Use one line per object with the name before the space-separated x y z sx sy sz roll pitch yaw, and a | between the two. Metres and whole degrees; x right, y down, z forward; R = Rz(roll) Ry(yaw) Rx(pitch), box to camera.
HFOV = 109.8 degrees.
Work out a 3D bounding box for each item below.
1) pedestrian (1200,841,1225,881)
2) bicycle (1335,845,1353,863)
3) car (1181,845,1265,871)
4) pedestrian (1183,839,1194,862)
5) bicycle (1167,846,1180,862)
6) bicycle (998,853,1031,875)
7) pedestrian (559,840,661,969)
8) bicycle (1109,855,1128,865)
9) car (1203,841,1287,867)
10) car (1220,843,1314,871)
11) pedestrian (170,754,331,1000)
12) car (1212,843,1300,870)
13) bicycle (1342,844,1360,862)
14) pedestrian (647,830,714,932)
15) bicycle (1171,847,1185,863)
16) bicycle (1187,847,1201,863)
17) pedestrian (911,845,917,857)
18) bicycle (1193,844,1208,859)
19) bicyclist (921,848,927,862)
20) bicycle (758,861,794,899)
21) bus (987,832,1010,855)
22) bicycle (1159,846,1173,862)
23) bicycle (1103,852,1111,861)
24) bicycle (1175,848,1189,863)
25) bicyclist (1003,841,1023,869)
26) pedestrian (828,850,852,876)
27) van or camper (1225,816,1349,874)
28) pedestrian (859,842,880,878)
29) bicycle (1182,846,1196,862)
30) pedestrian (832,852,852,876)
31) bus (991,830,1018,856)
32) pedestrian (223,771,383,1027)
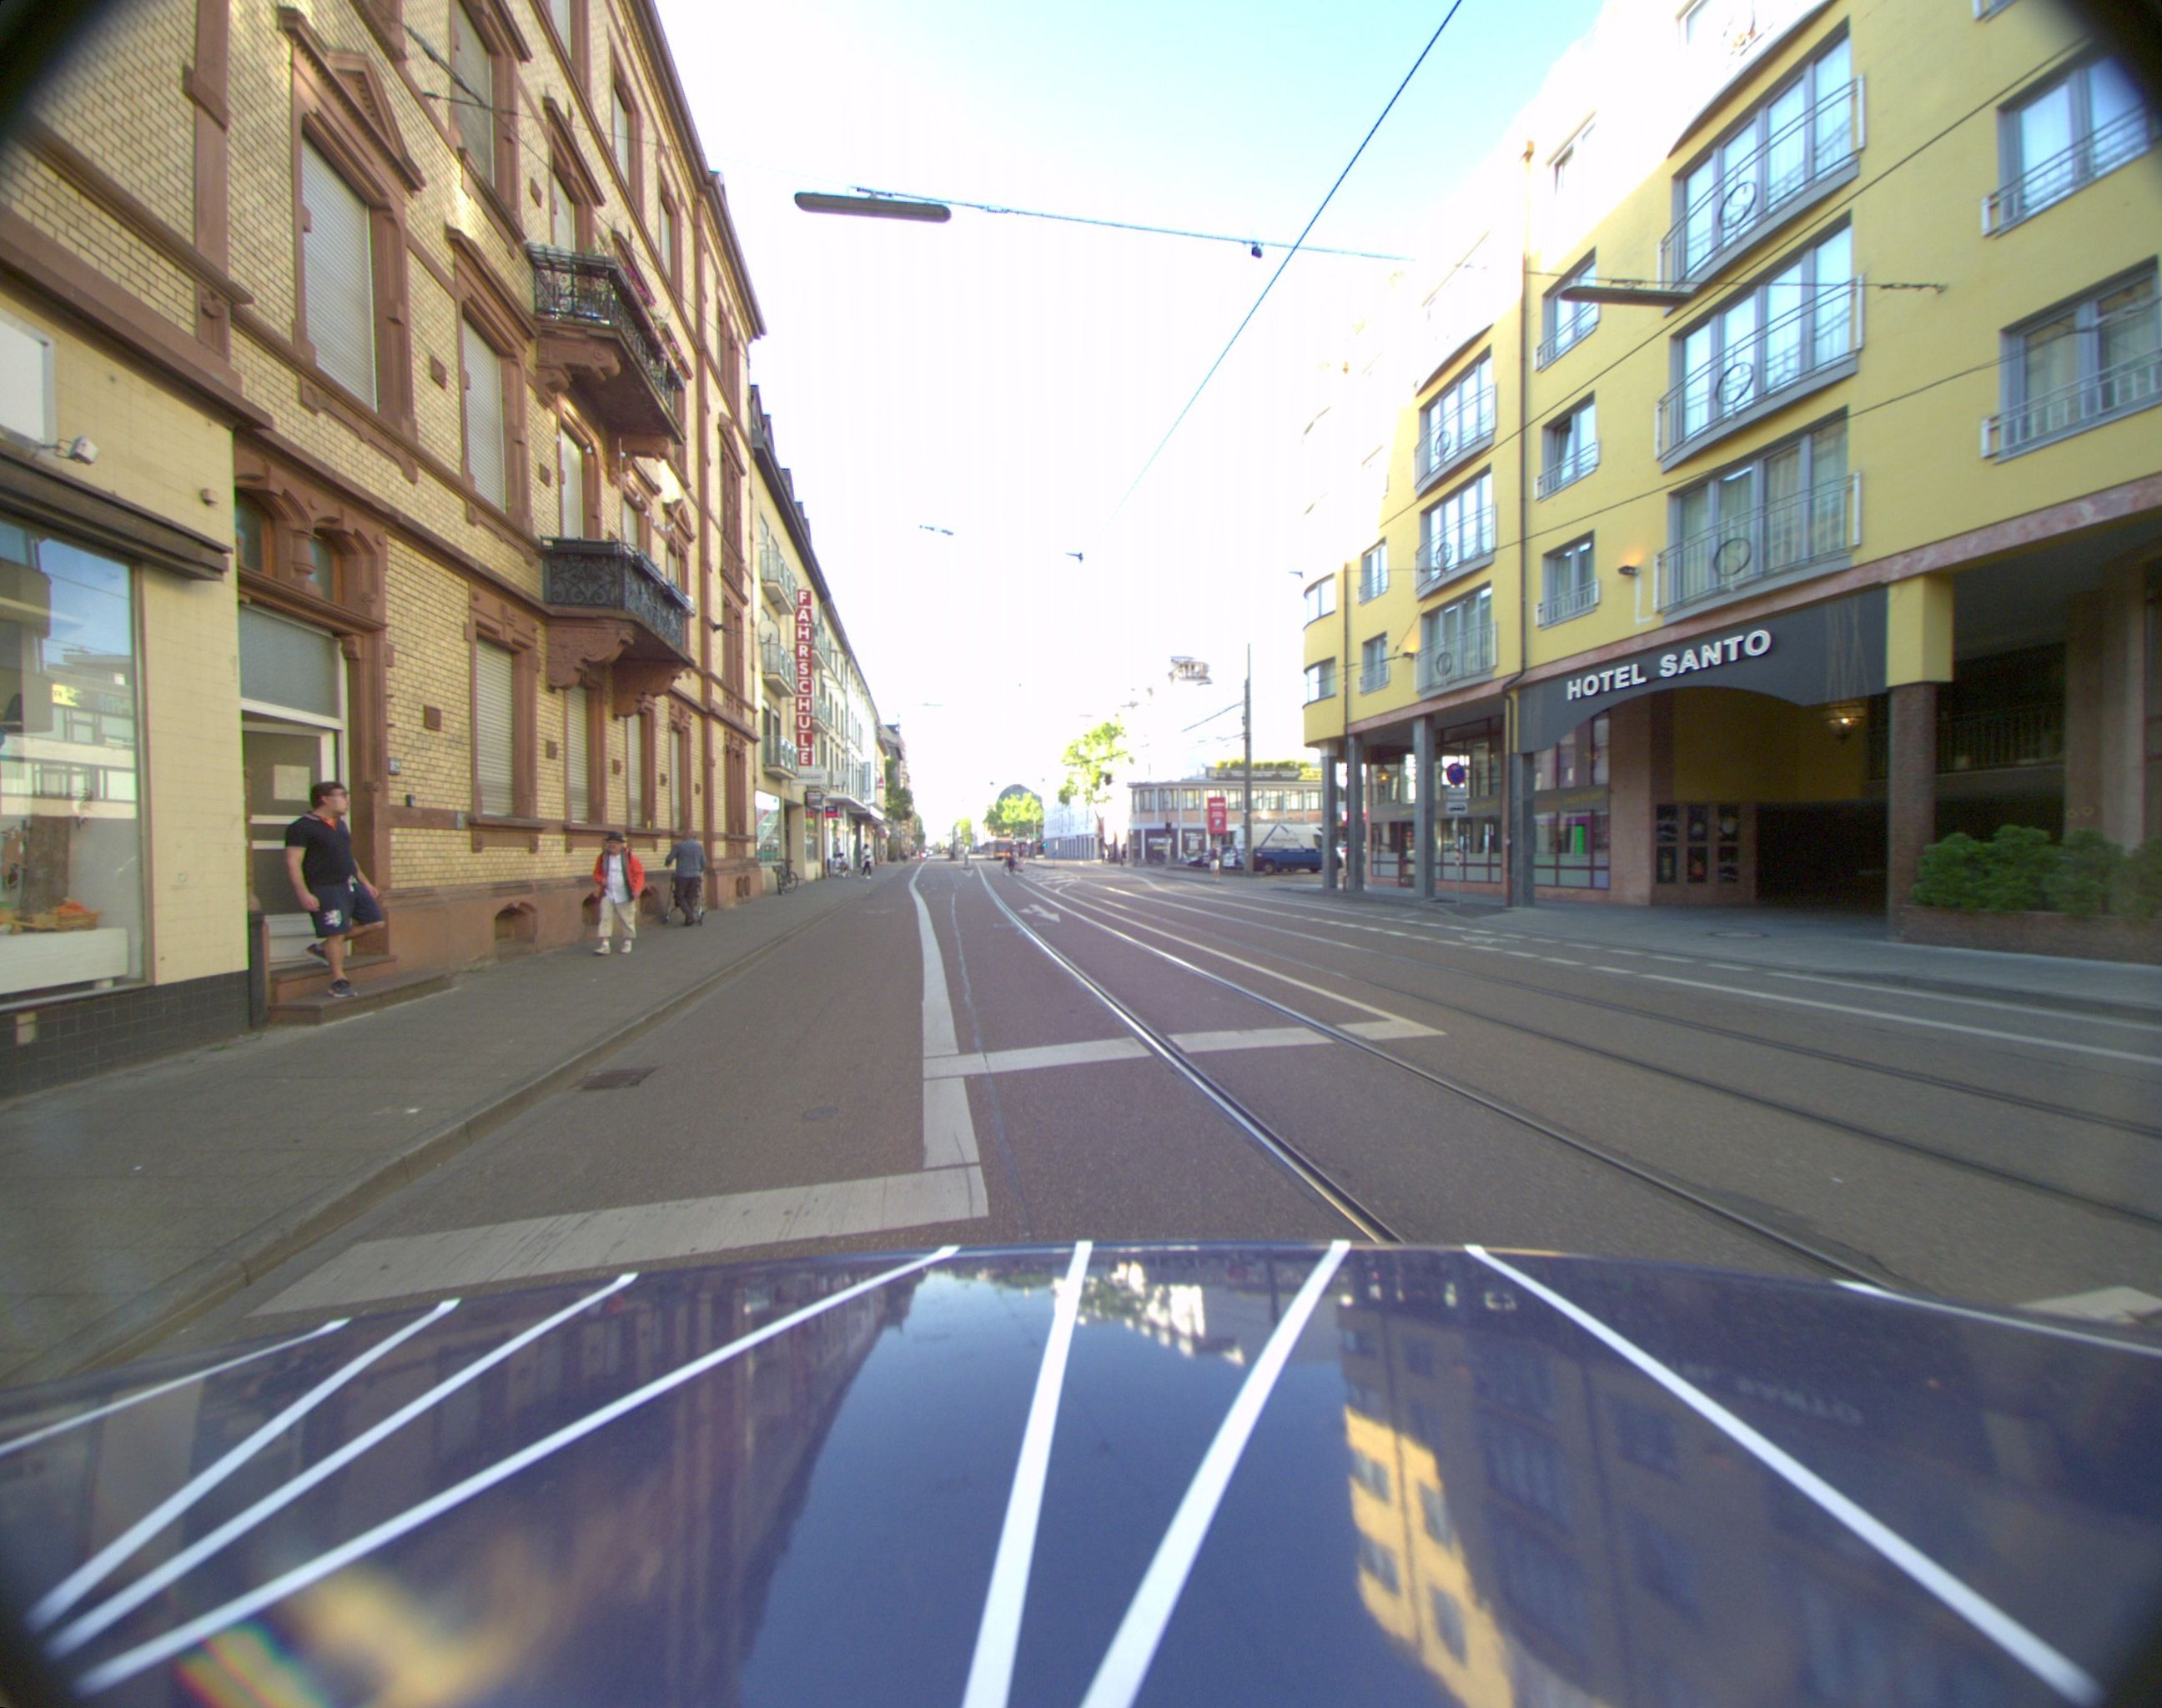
pedestrian | 6.020 0.308 34.779 0.836 1.822 0.908 -1 1 -11
bicycle | 17.591 -0.020 50.843 0.432 1.180 1.831 0 0 -3
car | 9.098 0.225 48.820 4.911 1.574 1.878 0 0 -10
pedestrian | 8.207 -0.268 57.948 0.683 1.687 0.682 -1 1 -12
bicycle | 7.002 -0.006 57.689 0.442 1.180 1.829 -1 0 -11
bicycle | -3.811 0.577 43.507 1.835 1.165 0.681 -2 5 -39
pedestrian | -6.304 0.664 10.232 0.800 1.618 0.825 4 -1 -10
bicycle | 3.787 0.596 76.456 1.850 0.906 0.389 -2 -3 -5
car | 9.825 0.004 45.688 4.604 1.467 1.878 0 0 -10
car | 10.050 0.147 41.138 4.604 1.467 1.878 0 0 -10
pedestrian | -6.786 0.191 6.240 0.515 1.895 0.594 4 -1 -10
car | 10.031 0.119 43.655 4.604 1.467 1.878 0 0 -10
bicycle | 18.096 -0.084 50.886 0.432 1.180 1.831 0 0 -3
pedestrian | -7.326 0.488 13.921 0.808 1.789 0.761 3 0 -11
bicycle | 7.373 0.056 57.949 0.449 1.180 1.829 -1 0 -13
bicycle | 8.647 0.050 58.114 0.449 1.180 1.829 -1 0 -13
pedestrian | -25.907 -0.472 117.684 0.808 1.790 0.761 -1 1 -10
bicycle | 9.177 -0.189 58.262 0.449 1.180 1.829 -1 0 -13
bicyclist | -17.216 0.103 83.323 0.678 1.604 0.836 -2 1 -12
bicycle | -9.404 0.777 23.490 0.557 1.055 2.308 2 0 -10
bus | -13.358 -1.691 122.076 2.821 3.547 13.664 -1 1 -10
bicycle | 6.466 0.027 57.890 0.447 1.180 1.829 -1 0 -16
bicycle | 2.624 0.218 76.654 0.389 0.907 1.849 -2 1 -9
bicycle | 7.756 0.116 58.233 0.444 1.180 1.829 -1 0 -13
bicyclist | -3.879 0.040 43.403 0.839 1.541 0.689 -2 5 -39
pedestrian | -12.290 0.444 38.719 0.704 1.248 0.833 5 -1 44
van or camper | 10.432 -0.480 38.590 5.625 2.811 2.313 -1 1 -10
pedestrian | -10.998 0.303 39.494 0.706 1.801 0.680 5 0 5
bicycle | 8.252 0.007 58.092 0.449 1.180 1.829 -1 0 -13
pedestrian | -12.535 0.515 39.767 0.708 1.167 1.013 5 -1 -30
bus | -11.048 -1.541 108.839 2.821 3.547 13.664 -1 1 -10
pedestrian | -6.134 0.349 6.029 0.515 1.895 0.594 4 -1 -10
